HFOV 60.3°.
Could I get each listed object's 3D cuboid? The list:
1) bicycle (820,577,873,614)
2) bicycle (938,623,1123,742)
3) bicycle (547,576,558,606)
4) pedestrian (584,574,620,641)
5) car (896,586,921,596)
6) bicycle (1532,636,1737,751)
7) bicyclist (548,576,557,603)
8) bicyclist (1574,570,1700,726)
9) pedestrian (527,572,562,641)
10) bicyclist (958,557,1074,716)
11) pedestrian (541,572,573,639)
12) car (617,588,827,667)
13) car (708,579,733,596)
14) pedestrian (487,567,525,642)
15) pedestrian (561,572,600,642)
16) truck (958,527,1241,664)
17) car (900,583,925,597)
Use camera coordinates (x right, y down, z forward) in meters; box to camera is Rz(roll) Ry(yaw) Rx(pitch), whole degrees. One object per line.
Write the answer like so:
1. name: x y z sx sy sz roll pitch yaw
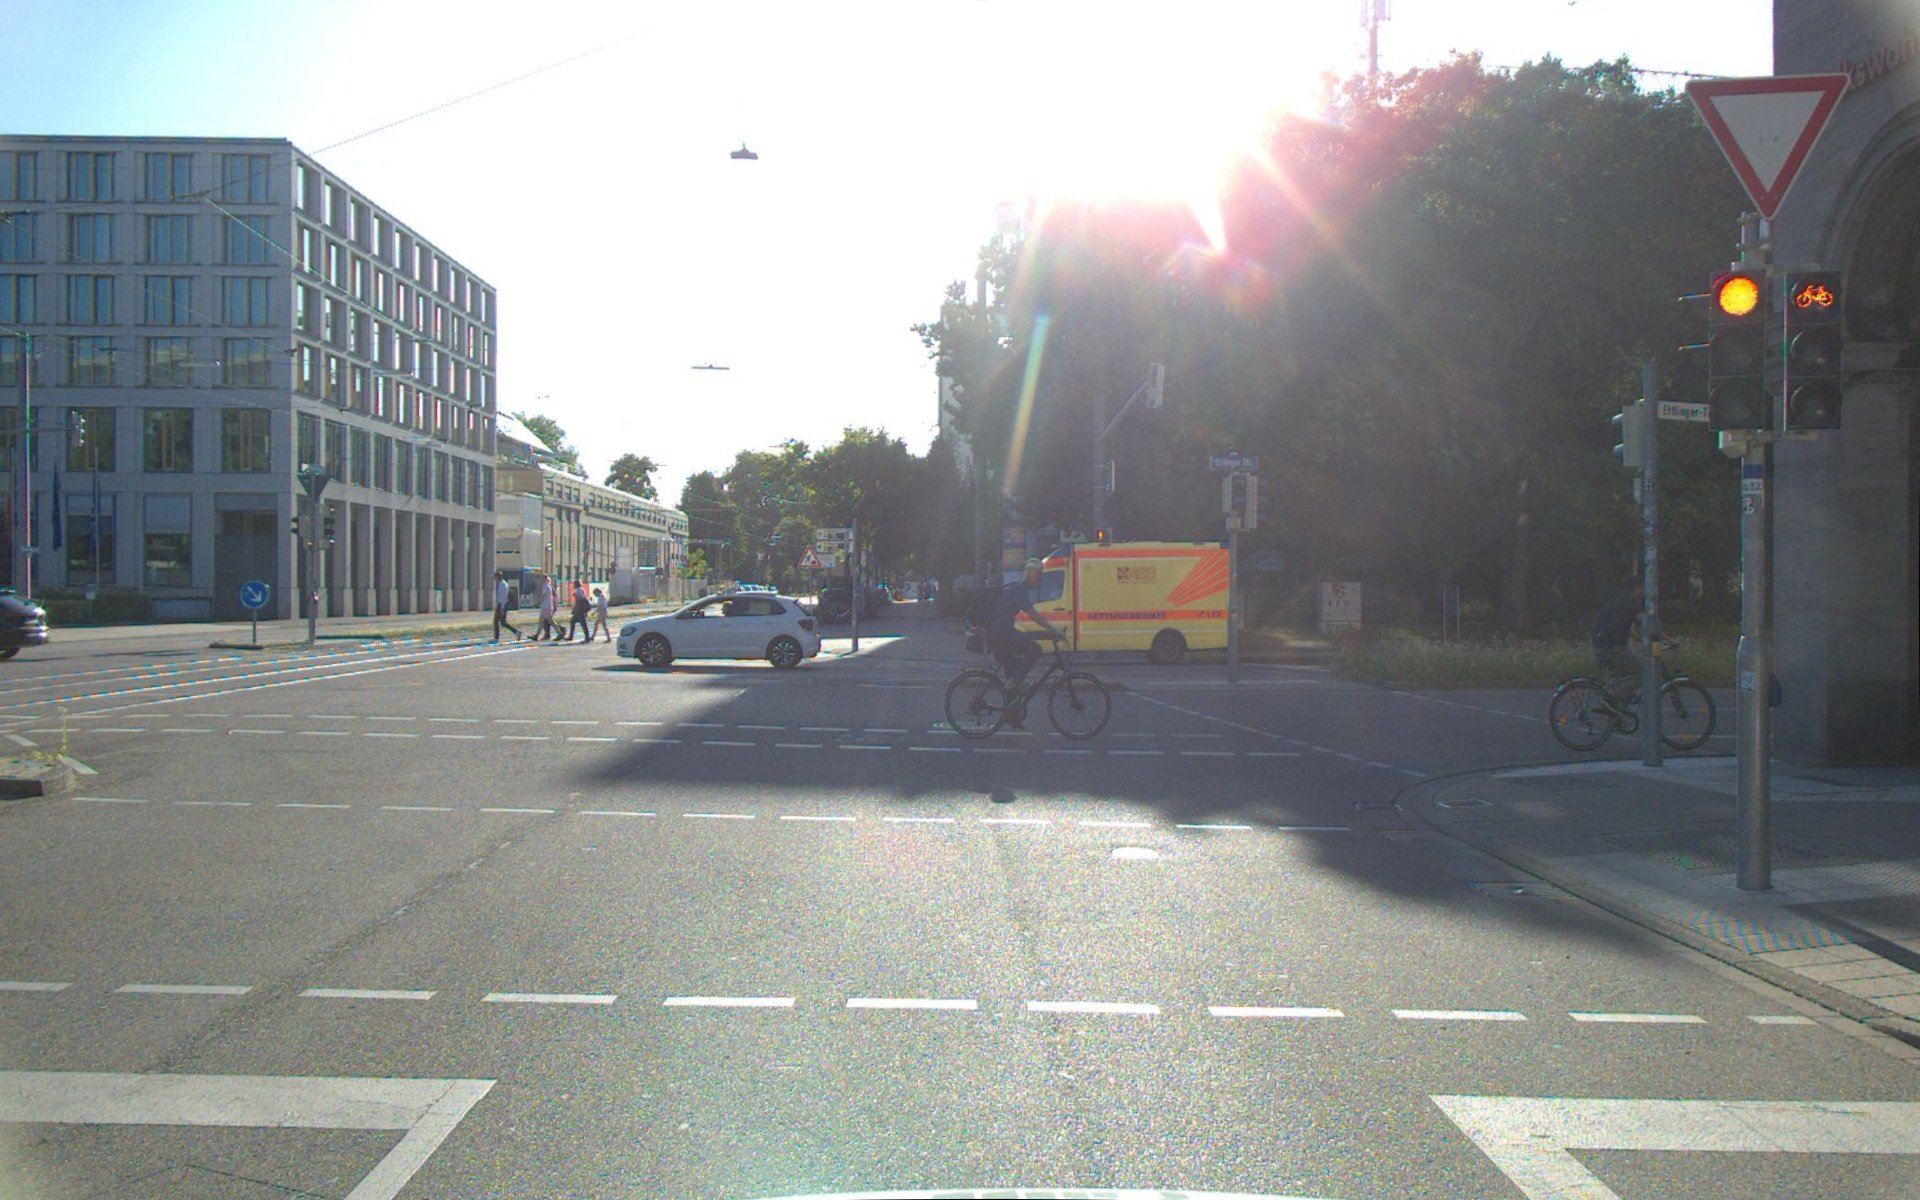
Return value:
1. bicycle: -5.567 -0.217 81.386 2.495 1.774 1.037 1 0 -1
2. bicycle: 0.729 0.862 17.506 1.837 1.178 0.765 1 2 -7
3. bicycle: -31.930 -0.695 129.562 0.559 2.336 1.422 0 0 -2
4. pedestrian: -9.802 0.210 45.278 0.851 1.835 0.532 0 0 4
5. car: -6.520 -1.159 211.090 3.152 1.285 1.373 1 0 -1
6. bicycle: 6.859 0.942 16.881 1.775 1.104 0.767 0 2 3
7. bicyclist: -31.931 -0.835 129.506 0.559 2.059 0.761 0 0 -2
8. bicyclist: 6.890 0.473 16.871 0.981 1.538 0.767 0 2 3
9. pedestrian: -11.310 0.175 45.014 0.723 1.835 0.716 0 0 4
10. bicyclist: 0.578 0.375 17.469 1.102 1.622 0.765 1 1 -7
11. pedestrian: -11.185 0.147 45.936 0.723 1.835 0.532 0 0 4
12. car: -4.630 0.553 32.593 3.962 1.459 1.630 0 -4 -3
13. car: -22.582 -1.165 156.206 1.856 1.635 4.498 0 0 -3
14. pedestrian: -11.946 0.121 43.573 0.785 1.951 0.637 0 0 4
15. pedestrian: -10.151 0.187 44.252 0.852 1.835 0.664 0 0 4
16. truck: 3.147 -0.104 38.435 6.335 3.068 2.725 0 0 0
17. car: -6.094 -1.287 213.257 3.152 1.616 1.445 1 0 -5
